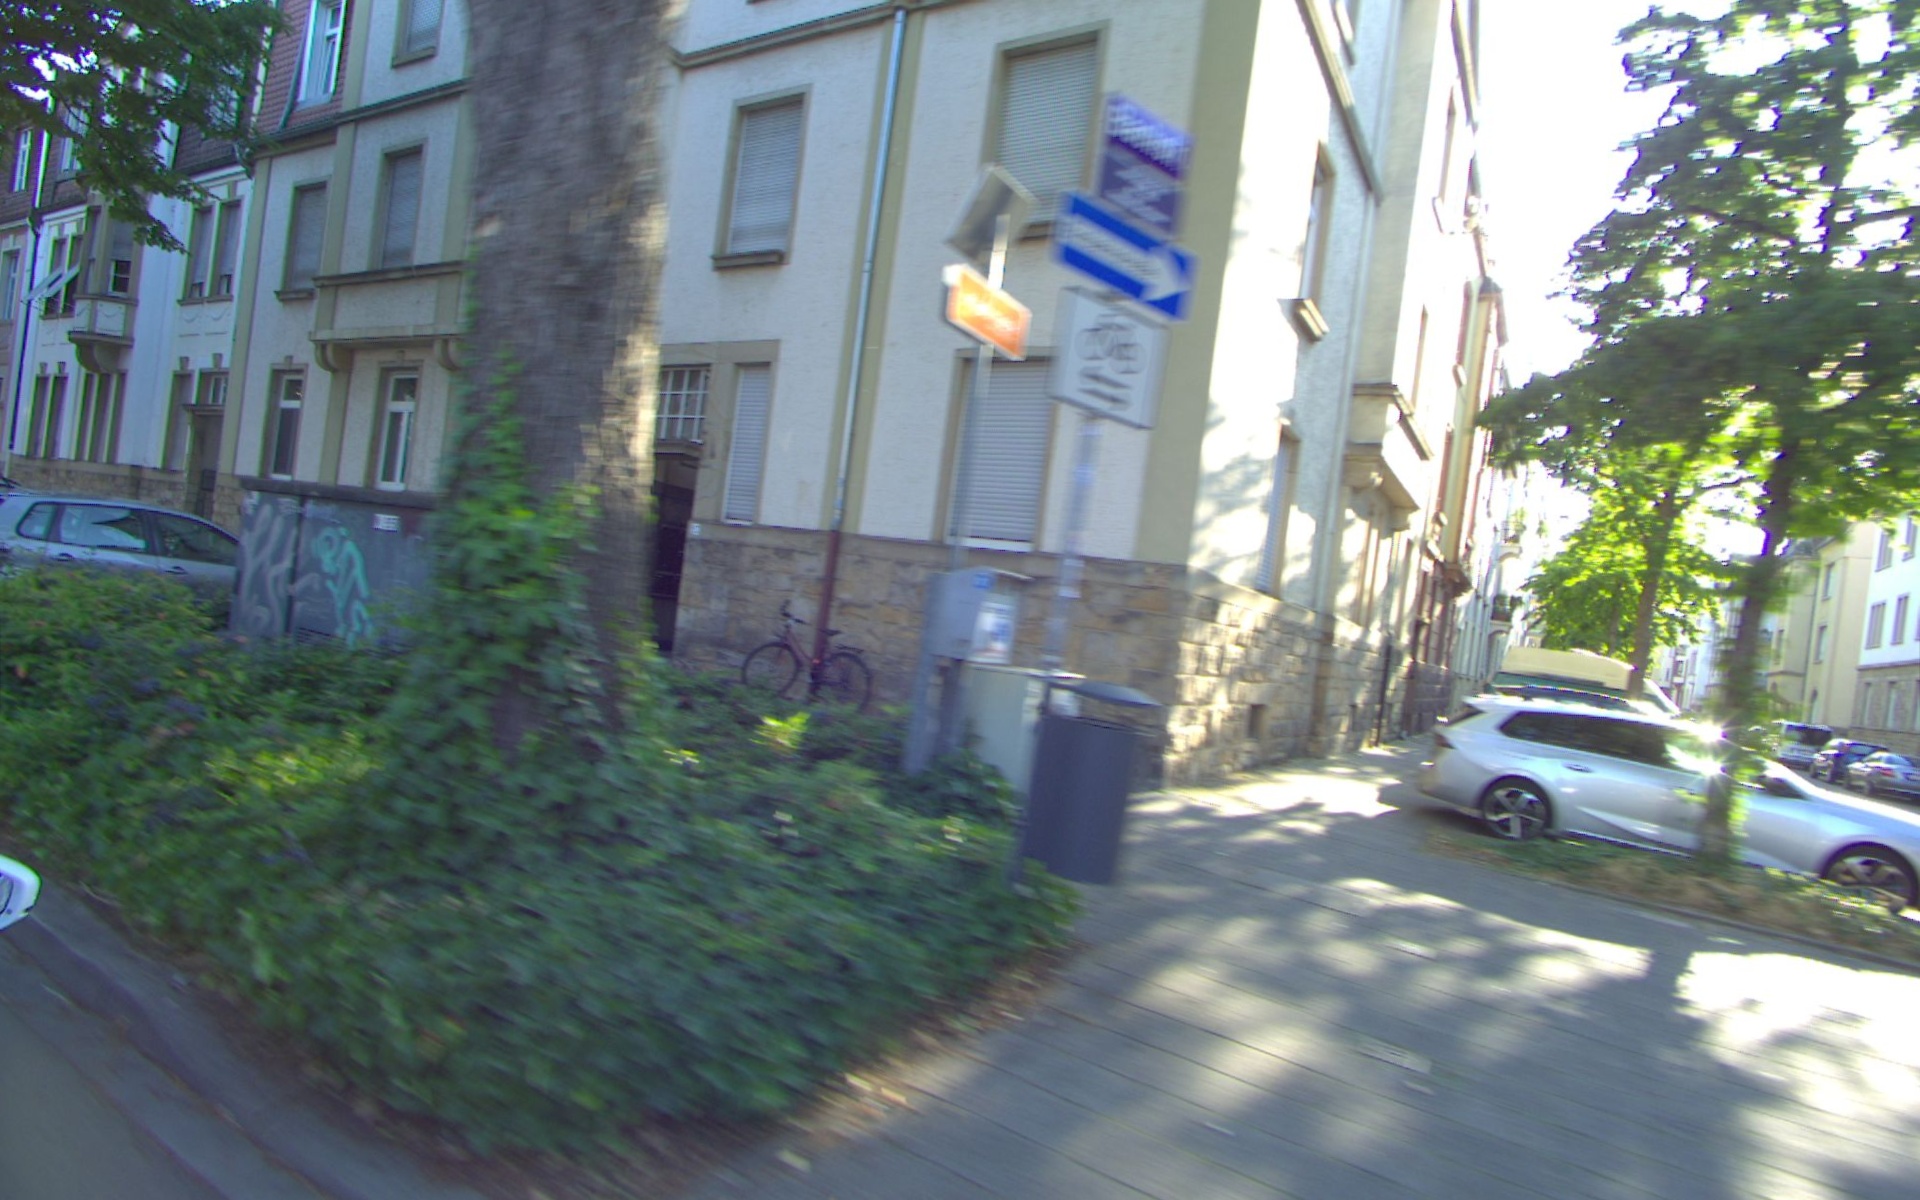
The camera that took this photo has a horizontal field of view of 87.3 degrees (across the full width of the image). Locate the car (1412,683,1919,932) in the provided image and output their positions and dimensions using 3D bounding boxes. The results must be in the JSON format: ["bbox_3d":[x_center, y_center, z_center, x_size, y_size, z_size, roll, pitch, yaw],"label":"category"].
[{"bbox_3d":[7.126,1.920,10.094,4.394,1.426,1.786,9,1,32],"label":"car"}]

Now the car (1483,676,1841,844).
[{"bbox_3d":[10.717,2.366,15.756,4.214,1.627,1.726,9,1,32],"label":"car"}]

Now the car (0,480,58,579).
[{"bbox_3d":[-16.646,-1.349,15.452,1.535,1.501,3.797,8,-1,33],"label":"car"}]

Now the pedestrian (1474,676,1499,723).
[{"bbox_3d":[20.402,3.845,39.008,0.597,1.724,0.630,8,1,33],"label":"pedestrian"}]

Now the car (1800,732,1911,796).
[{"bbox_3d":[29.179,5.300,32.912,1.727,1.494,4.163,9,0,31],"label":"car"}]

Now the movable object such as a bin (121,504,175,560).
[{"bbox_3d":[-16.747,-1.403,20.750,0.532,1.064,0.700,8,4,31],"label":"movable object such as a bin"}]

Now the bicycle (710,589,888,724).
[{"bbox_3d":[-1.860,0.623,11.497,1.924,1.226,0.585,8,1,30],"label":"bicycle"}]

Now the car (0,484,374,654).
[{"bbox_3d":[-8.543,-0.292,10.474,1.718,1.456,3.800,8,1,27],"label":"car"}]

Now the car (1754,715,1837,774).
[{"bbox_3d":[34.265,5.879,41.379,1.727,1.862,4.163,9,0,31],"label":"car"}]

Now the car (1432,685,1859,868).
[{"bbox_3d":[9.166,2.263,13.918,4.454,1.426,1.846,9,1,32],"label":"car"}]

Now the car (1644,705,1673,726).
[{"bbox_3d":[64.067,10.576,92.333,1.727,1.494,4.163,9,0,31],"label":"car"}]

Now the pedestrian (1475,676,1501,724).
[{"bbox_3d":[19.961,3.779,38.007,0.597,1.724,0.630,8,1,33],"label":"pedestrian"}]

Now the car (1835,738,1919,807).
[{"bbox_3d":[26.567,4.906,28.520,1.727,1.494,4.163,9,0,31],"label":"car"}]

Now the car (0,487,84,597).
[{"bbox_3d":[-14.776,-1.023,13.731,1.787,1.455,3.799,8,-1,31],"label":"car"}]

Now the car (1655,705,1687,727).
[{"bbox_3d":[60.489,9.850,85.615,1.727,1.494,4.163,9,0,31],"label":"car"}]

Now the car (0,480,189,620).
[{"bbox_3d":[-12.535,-0.769,12.583,1.682,1.595,4.158,8,-1,26],"label":"car"}]

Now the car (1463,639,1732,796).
[{"bbox_3d":[13.601,2.433,21.748,4.447,2.450,1.874,9,1,33],"label":"car"}]
